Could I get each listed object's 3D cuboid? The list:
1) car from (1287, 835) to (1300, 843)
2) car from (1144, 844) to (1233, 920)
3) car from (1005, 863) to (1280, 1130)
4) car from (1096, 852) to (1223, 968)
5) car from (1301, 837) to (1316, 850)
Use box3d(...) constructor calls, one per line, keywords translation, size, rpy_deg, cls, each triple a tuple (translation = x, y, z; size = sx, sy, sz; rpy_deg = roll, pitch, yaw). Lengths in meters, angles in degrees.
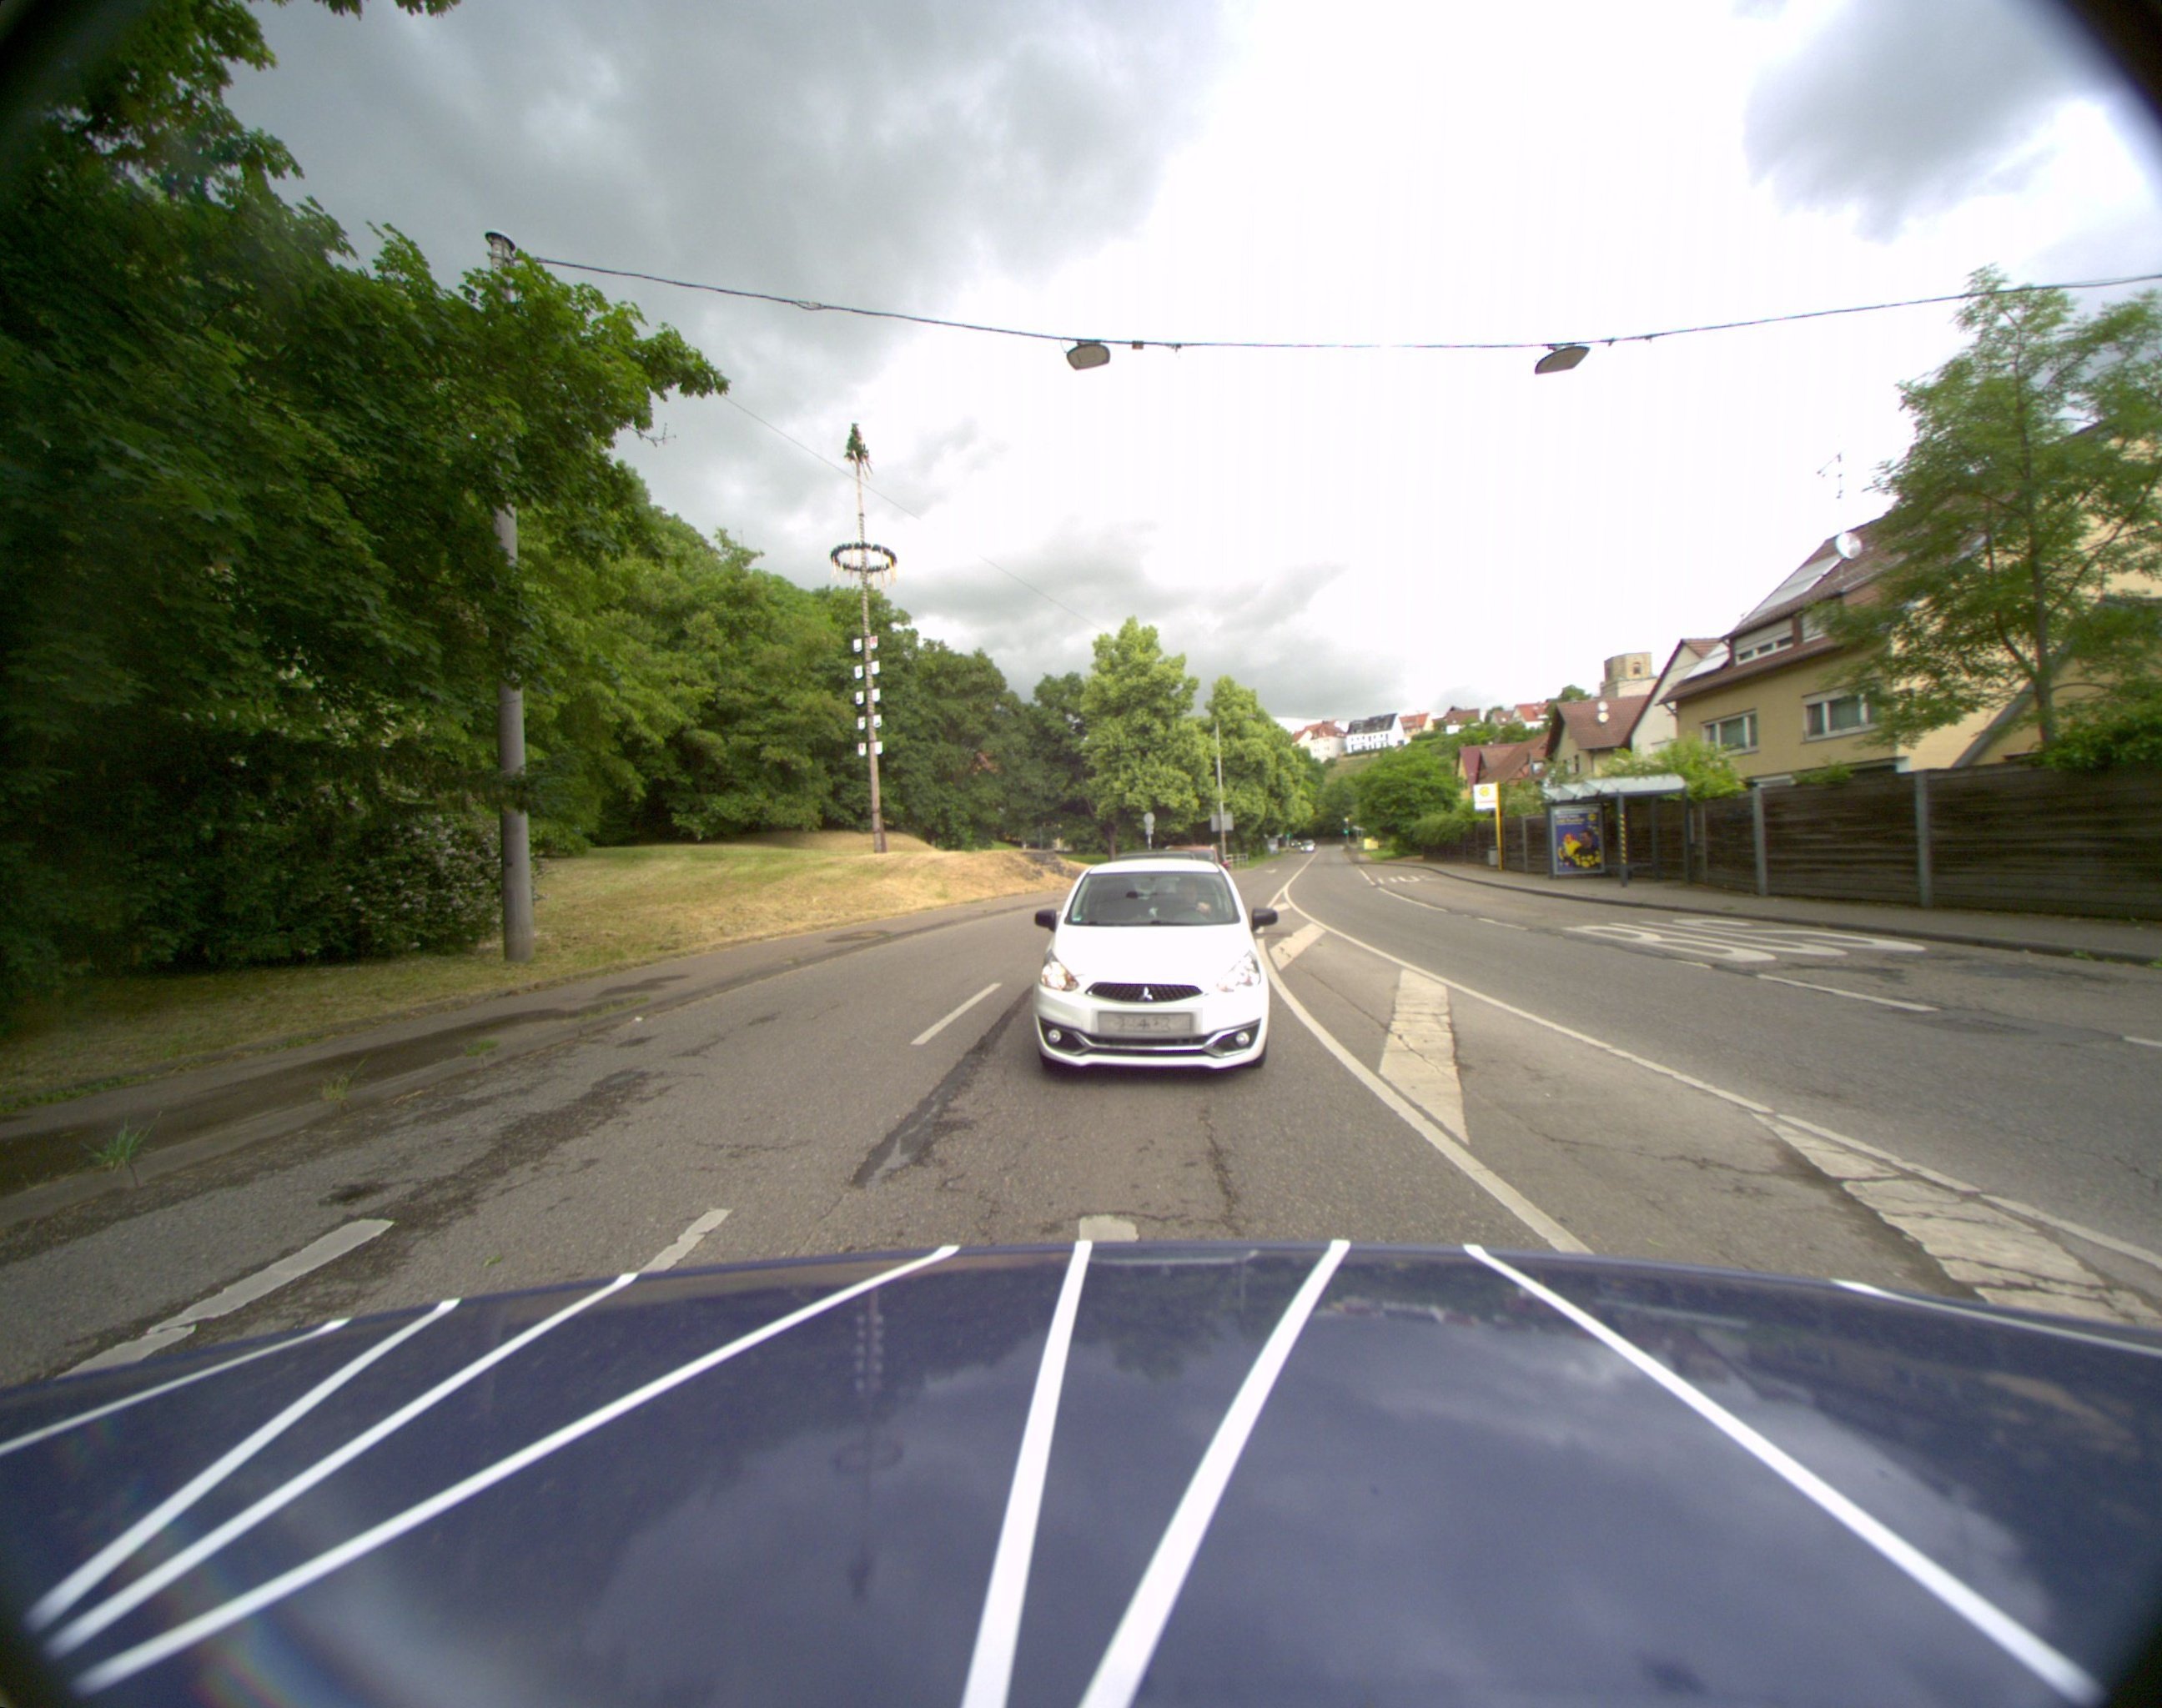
box3d(translation=(44.928, -3.080, 160.395), size=(1.845, 1.608, 4.001), rpy_deg=(-2, 1, 4), cls="car")
box3d(translation=(2.853, 0.627, 19.452), size=(1.826, 1.662, 4.061), rpy_deg=(-2, 1, 13), cls="car")
box3d(translation=(0.635, 0.905, 6.422), size=(1.617, 1.505, 3.607), rpy_deg=(-2, 1, 9), cls="car")
box3d(translation=(1.389, 0.790, 12.579), size=(1.723, 1.539, 3.784), rpy_deg=(-2, 1, 9), cls="car")
box3d(translation=(32.337, -1.520, 107.823), size=(1.843, 1.630, 4.005), rpy_deg=(-2, 1, 18), cls="car")
